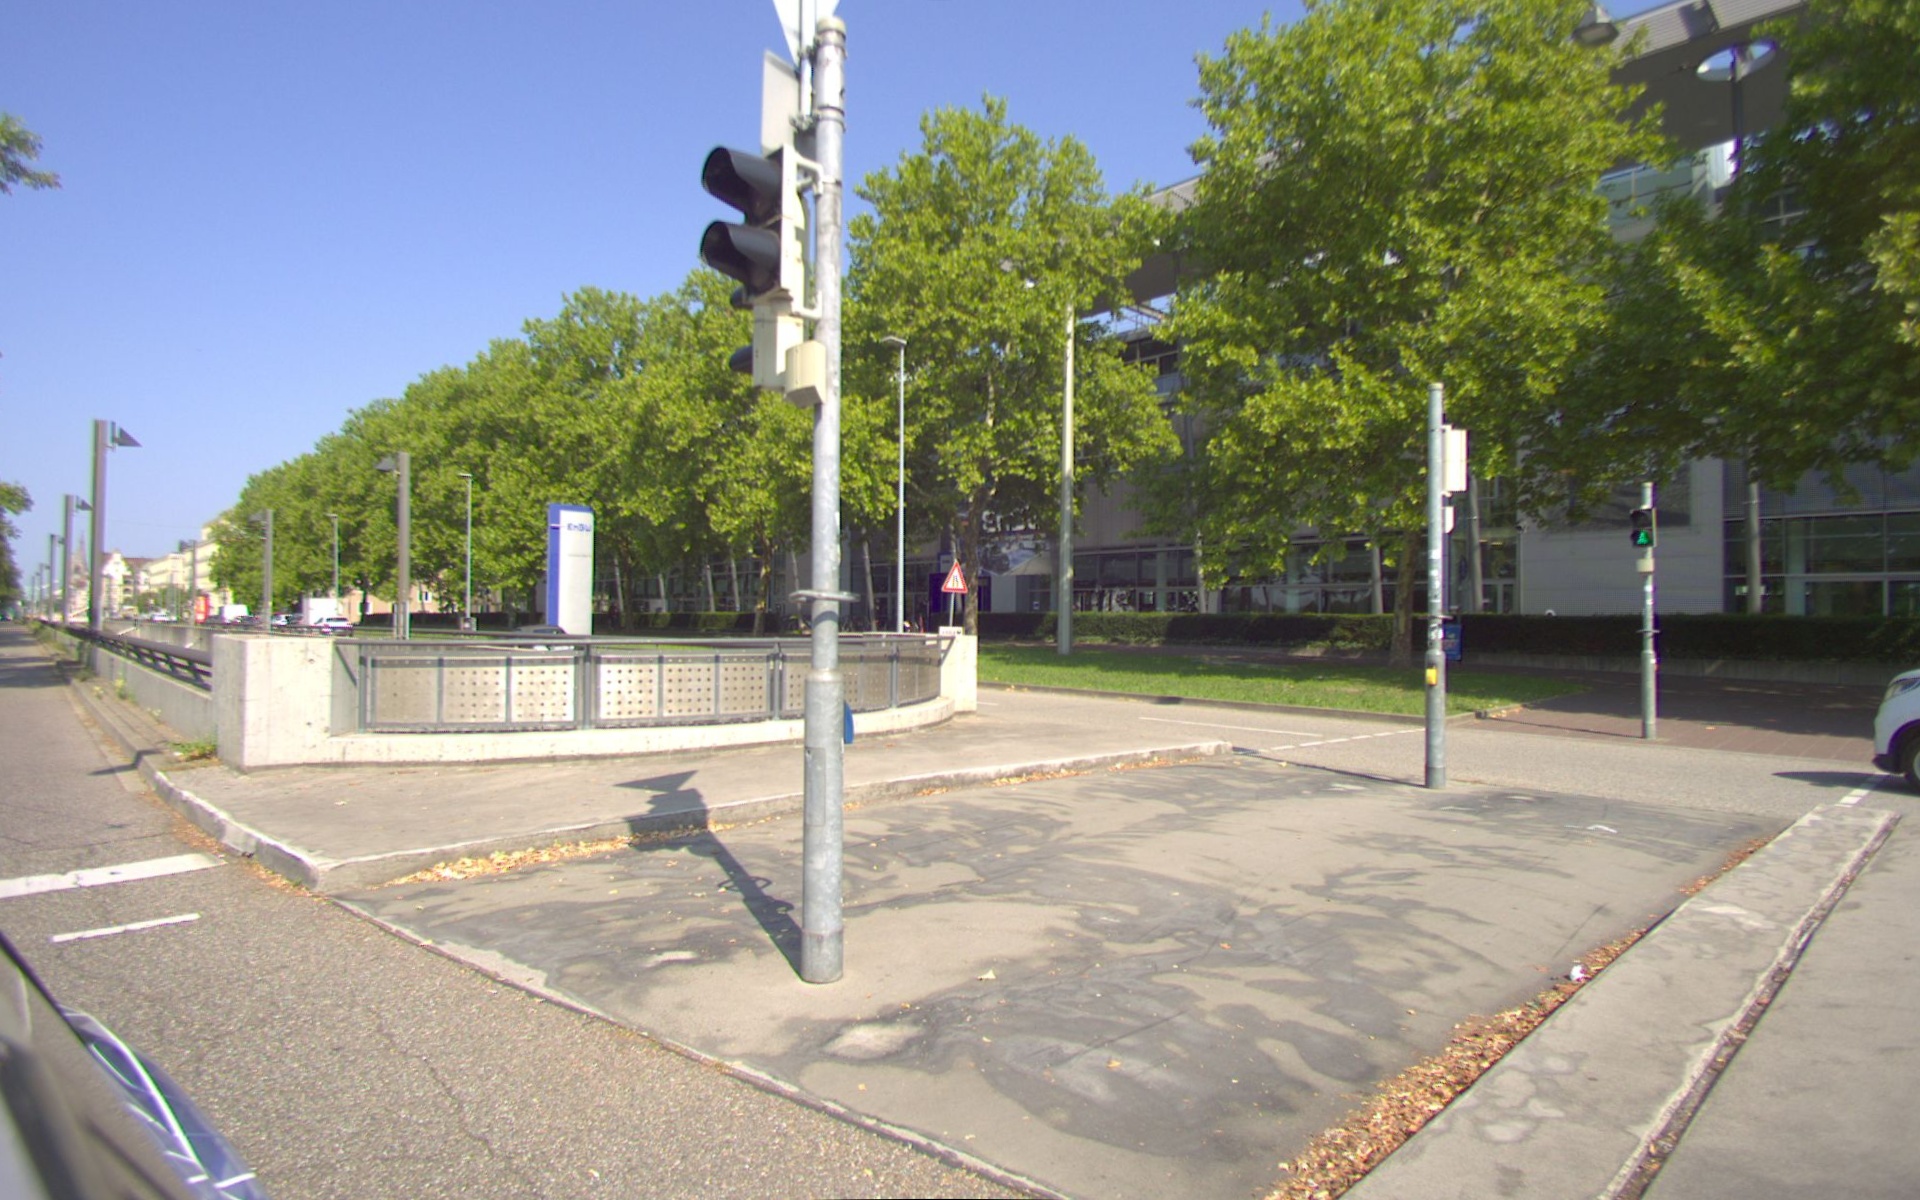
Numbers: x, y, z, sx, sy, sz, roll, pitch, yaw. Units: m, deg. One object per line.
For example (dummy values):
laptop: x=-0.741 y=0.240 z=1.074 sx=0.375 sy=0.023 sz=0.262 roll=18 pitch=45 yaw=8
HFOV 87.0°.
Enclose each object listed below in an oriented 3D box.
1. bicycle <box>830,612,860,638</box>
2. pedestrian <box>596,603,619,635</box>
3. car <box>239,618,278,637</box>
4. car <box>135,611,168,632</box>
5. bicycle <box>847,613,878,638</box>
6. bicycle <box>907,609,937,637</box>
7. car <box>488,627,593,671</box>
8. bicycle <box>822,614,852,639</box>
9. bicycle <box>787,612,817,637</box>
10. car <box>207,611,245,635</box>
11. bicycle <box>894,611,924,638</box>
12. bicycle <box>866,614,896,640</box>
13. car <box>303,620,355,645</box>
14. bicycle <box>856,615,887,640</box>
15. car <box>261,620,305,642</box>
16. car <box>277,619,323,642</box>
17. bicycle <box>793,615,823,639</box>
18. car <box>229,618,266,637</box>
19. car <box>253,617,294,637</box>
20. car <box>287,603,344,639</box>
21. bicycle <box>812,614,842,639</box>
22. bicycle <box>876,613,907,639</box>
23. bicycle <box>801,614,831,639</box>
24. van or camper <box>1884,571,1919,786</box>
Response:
bicycle: x=-7.509 y=1.634 z=66.282 sx=0.600 sy=1.566 sz=2.141 roll=-1 pitch=0 yaw=39
pedestrian: x=-22.700 y=1.202 z=65.230 sx=0.934 sy=2.029 sz=1.350 roll=-2 pitch=0 yaw=-42
car: x=-58.016 y=2.224 z=83.634 sx=1.971 sy=1.464 sz=4.003 roll=-2 pitch=1 yaw=-44
car: x=-82.559 y=2.185 z=103.291 sx=3.998 sy=2.029 sz=1.973 roll=-1 pitch=0 yaw=41
bicycle: x=-6.351 y=1.659 z=65.963 sx=0.600 sy=1.566 sz=2.141 roll=-1 pitch=0 yaw=39
bicycle: x=-2.346 y=1.394 z=62.743 sx=0.600 sy=1.652 sz=2.141 roll=-1 pitch=0 yaw=39
car: x=-13.249 y=1.494 z=31.847 sx=3.896 sy=1.230 sz=1.638 roll=-1 pitch=0 yaw=44
bicycle: x=-8.128 y=1.713 z=66.781 sx=0.600 sy=1.566 sz=2.141 roll=-1 pitch=0 yaw=39
bicycle: x=-10.789 y=1.657 z=68.975 sx=0.600 sy=1.566 sz=2.141 roll=-1 pitch=0 yaw=39
car: x=-69.335 y=2.133 z=95.576 sx=2.259 sy=2.095 sz=4.659 roll=-2 pitch=0 yaw=-44
bicycle: x=-3.191 y=1.525 z=63.422 sx=0.600 sy=1.566 sz=2.141 roll=-1 pitch=0 yaw=39
bicycle: x=-5.075 y=1.705 z=64.968 sx=0.600 sy=1.566 sz=2.141 roll=-1 pitch=0 yaw=39
car: x=-39.661 y=2.022 z=63.599 sx=1.971 sy=1.464 sz=4.003 roll=-2 pitch=1 yaw=-44
bicycle: x=-5.722 y=1.768 z=65.493 sx=0.600 sy=1.566 sz=2.141 roll=-1 pitch=0 yaw=39
car: x=-50.052 y=2.284 z=74.830 sx=1.971 sy=1.464 sz=4.003 roll=-2 pitch=1 yaw=-44
car: x=-46.318 y=2.126 z=70.999 sx=1.971 sy=1.464 sz=4.003 roll=-2 pitch=1 yaw=-44
bicycle: x=-10.289 y=1.821 z=68.542 sx=0.600 sy=1.566 sz=2.141 roll=-1 pitch=0 yaw=39
car: x=-61.114 y=2.324 z=86.762 sx=1.971 sy=1.464 sz=4.003 roll=-2 pitch=1 yaw=-44
car: x=-53.978 y=2.118 z=79.576 sx=1.971 sy=1.464 sz=4.003 roll=-2 pitch=1 yaw=-44
car: x=-42.984 y=1.397 z=67.411 sx=2.259 sy=2.250 sz=4.659 roll=-2 pitch=0 yaw=-44
bicycle: x=-8.847 y=1.744 z=67.287 sx=0.600 sy=1.566 sz=2.141 roll=-1 pitch=0 yaw=39
bicycle: x=-4.333 y=1.640 z=64.267 sx=0.600 sy=1.566 sz=2.141 roll=-1 pitch=0 yaw=39
bicycle: x=-9.640 y=1.748 z=67.974 sx=0.600 sy=1.566 sz=2.141 roll=-1 pitch=0 yaw=39
van or camper: x=10.185 y=0.705 z=7.320 sx=1.816 sy=1.962 sz=4.961 roll=1 pitch=-1 yaw=-14
